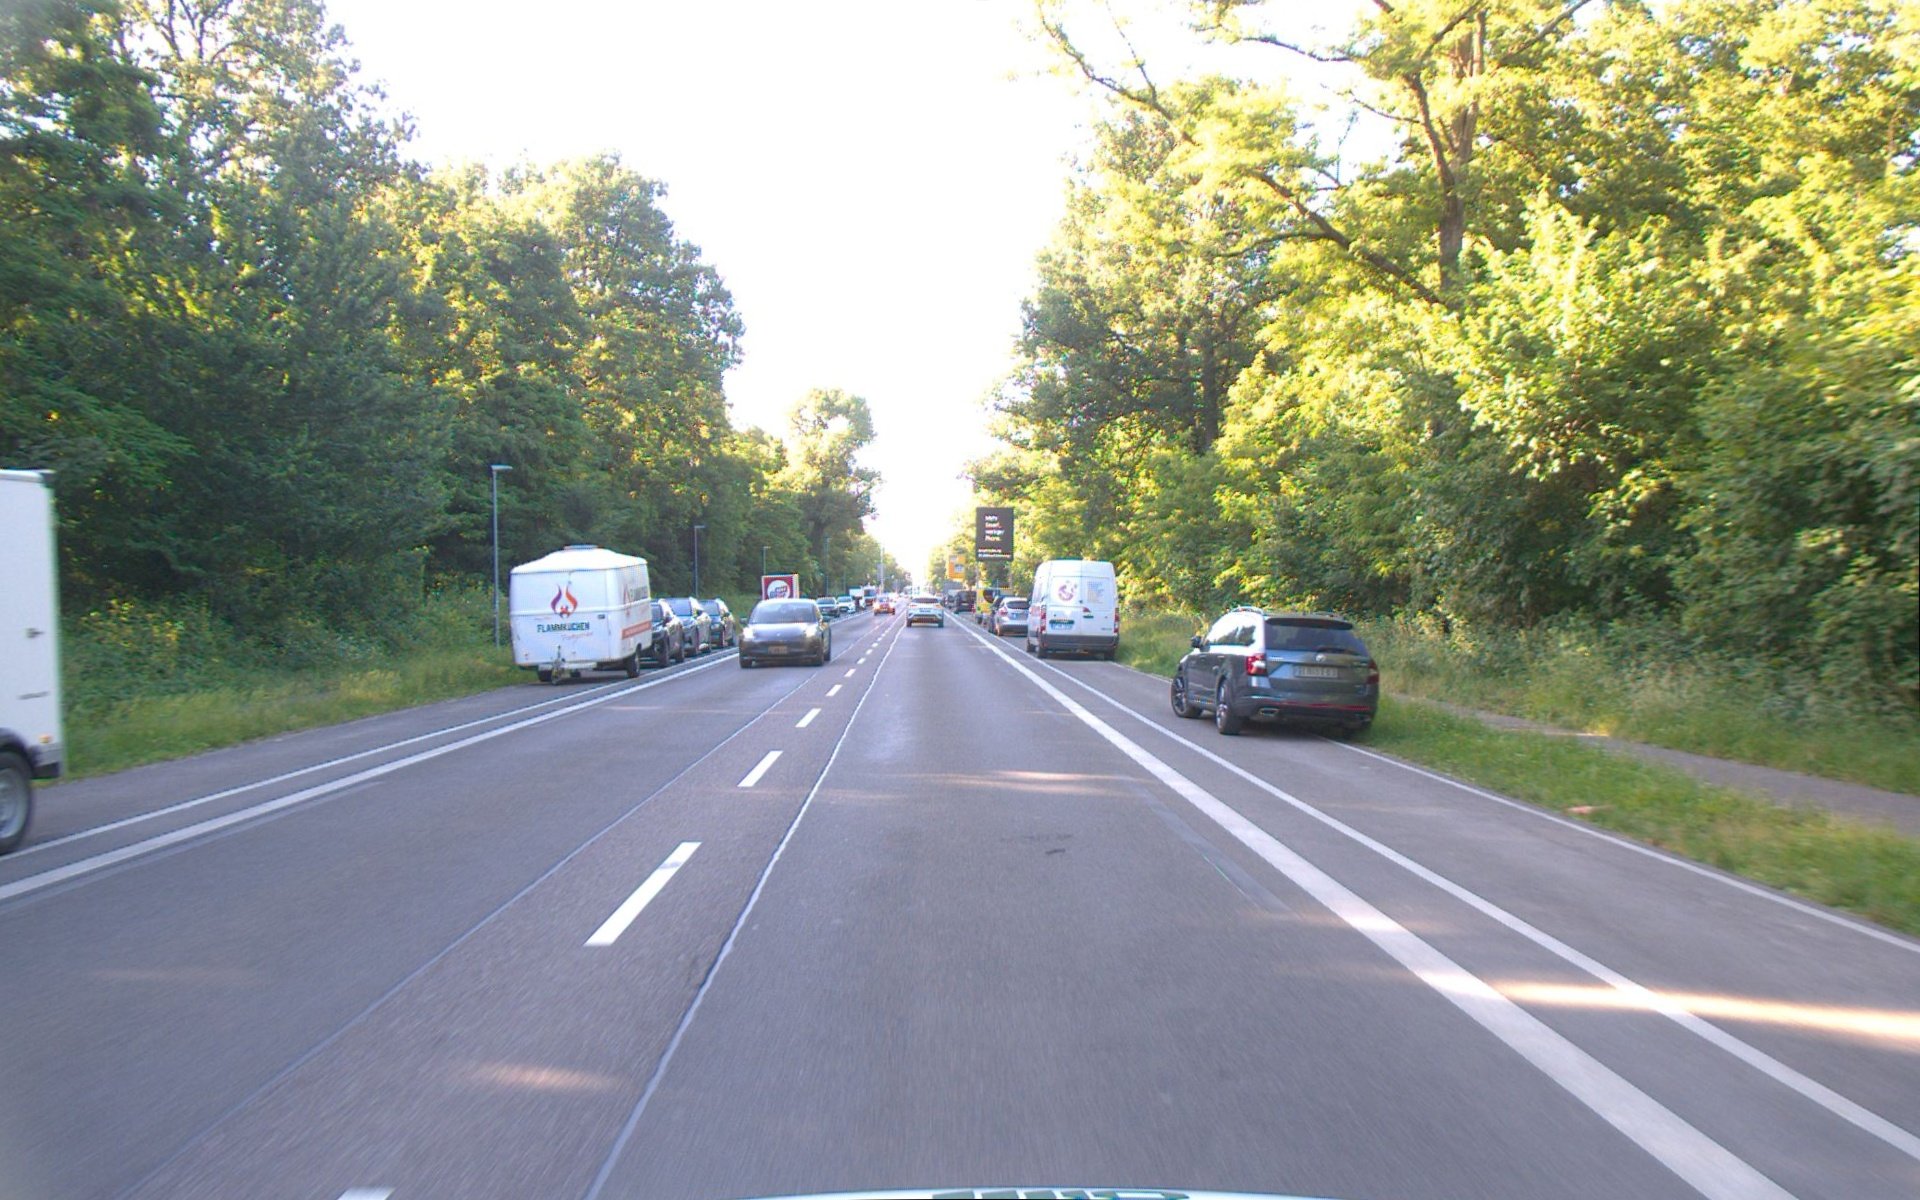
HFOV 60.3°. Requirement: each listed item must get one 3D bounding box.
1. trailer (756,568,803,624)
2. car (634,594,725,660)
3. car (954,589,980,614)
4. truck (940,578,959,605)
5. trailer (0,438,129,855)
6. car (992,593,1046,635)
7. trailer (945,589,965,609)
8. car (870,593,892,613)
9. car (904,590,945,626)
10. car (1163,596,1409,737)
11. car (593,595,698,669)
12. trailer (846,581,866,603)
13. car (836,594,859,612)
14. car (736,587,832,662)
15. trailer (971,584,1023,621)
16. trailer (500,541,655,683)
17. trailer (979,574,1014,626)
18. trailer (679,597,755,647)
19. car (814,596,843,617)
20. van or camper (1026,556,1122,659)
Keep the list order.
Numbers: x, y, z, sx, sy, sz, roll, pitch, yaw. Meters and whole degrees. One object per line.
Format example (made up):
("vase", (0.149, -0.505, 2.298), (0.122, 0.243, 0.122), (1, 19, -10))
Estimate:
("trailer", (-8.810, -0.190, 81.084), (1.953, 2.667, 4.085), (0, 0, -1))
("car", (-7.591, 0.693, 45.167), (1.637, 1.601, 5.125), (-3, 0, -1))
("car", (0.571, 0.085, 141.846), (2.071, 2.049, 5.038), (2, 0, -1))
("truck", (-1.371, -1.109, 216.029), (2.454, 3.425, 7.106), (1, 0, -1))
("trailer", (-6.819, 0.292, 9.944), (2.026, 2.524, 3.557), (-1, 0, -5))
("car", (2.260, 0.530, 64.470), (1.700, 1.514, 4.399), (2, 0, -3))
("trailer", (-0.546, -0.094, 185.767), (1.580, 2.149, 2.397), (1, 0, 19))
("car", (-5.999, 0.222, 126.245), (1.571, 1.445, 3.517), (-2, 0, -2))
("car", (-1.727, 0.366, 80.359), (1.953, 1.668, 3.999), (0, 0, -1))
("car", (3.867, 0.733, 20.470), (1.798, 1.445, 4.593), (3, 0, -4))
("car", (-7.268, 0.716, 38.580), (1.637, 1.521, 4.193), (-3, 0, -1))
("trailer", (-11.769, -0.890, 187.073), (2.032, 2.333, 3.486), (-1, 0, 0))
("car", (-9.976, 0.261, 146.597), (1.829, 1.476, 4.070), (-3, 0, -1))
("car", (-3.910, 0.531, 37.352), (1.782, 1.559, 4.529), (-1, 0, -1))
("trailer", (2.091, 0.122, 92.311), (1.921, 2.058, 3.846), (0, 0, 18))
("trailer", (-7.395, 0.201, 32.424), (2.300, 2.573, 4.340), (-1, 0, -5))
("trailer", (1.837, -0.006, 84.002), (1.581, 2.552, 3.999), (1, 0, -2))
("trailer", (-7.550, 0.664, 51.723), (1.804, 1.492, 4.465), (0, 0, -2))
("car", (-9.476, 0.450, 119.484), (1.817, 1.490, 4.783), (0, 0, -1))
("van or camper", (2.937, 0.170, 43.947), (2.082, 2.526, 6.304), (0, 0, 0))
